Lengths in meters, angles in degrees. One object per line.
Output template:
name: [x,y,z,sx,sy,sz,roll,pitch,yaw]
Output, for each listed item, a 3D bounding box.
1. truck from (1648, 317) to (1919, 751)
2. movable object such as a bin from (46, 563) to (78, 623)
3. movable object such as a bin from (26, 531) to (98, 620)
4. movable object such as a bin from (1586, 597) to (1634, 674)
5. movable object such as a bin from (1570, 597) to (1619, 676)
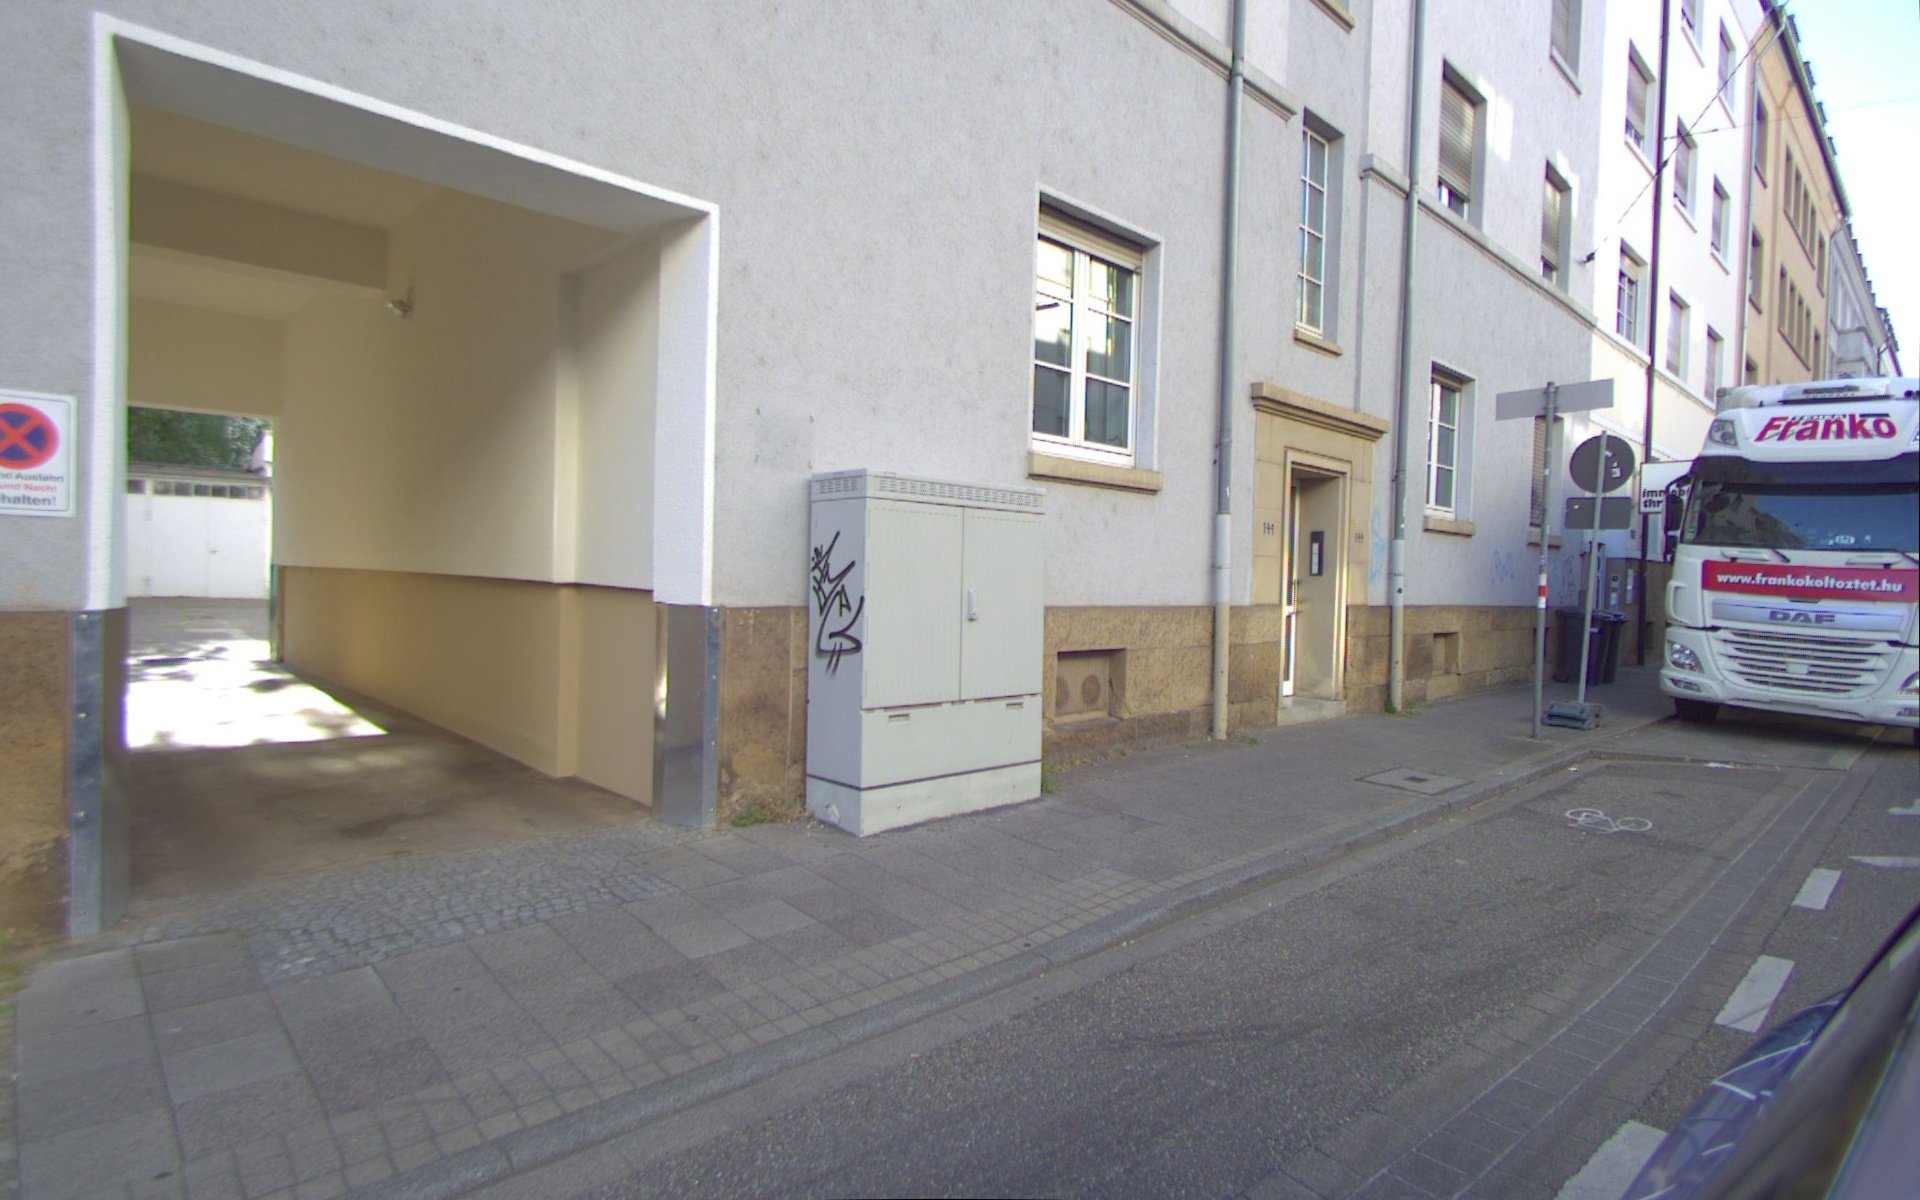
truck: [12.569,-0.606,13.839,11.511,4.012,2.894,0,0,-44]
movable object such as a bin: [-14.356,-0.115,16.172,0.366,0.919,0.420,0,3,-44]
movable object such as a bin: [-14.893,-0.419,16.781,0.874,1.409,0.758,0,4,-44]
movable object such as a bin: [9.589,0.515,14.931,0.511,1.106,0.488,0,0,45]
movable object such as a bin: [9.135,0.518,14.575,0.511,1.106,0.488,0,0,45]
